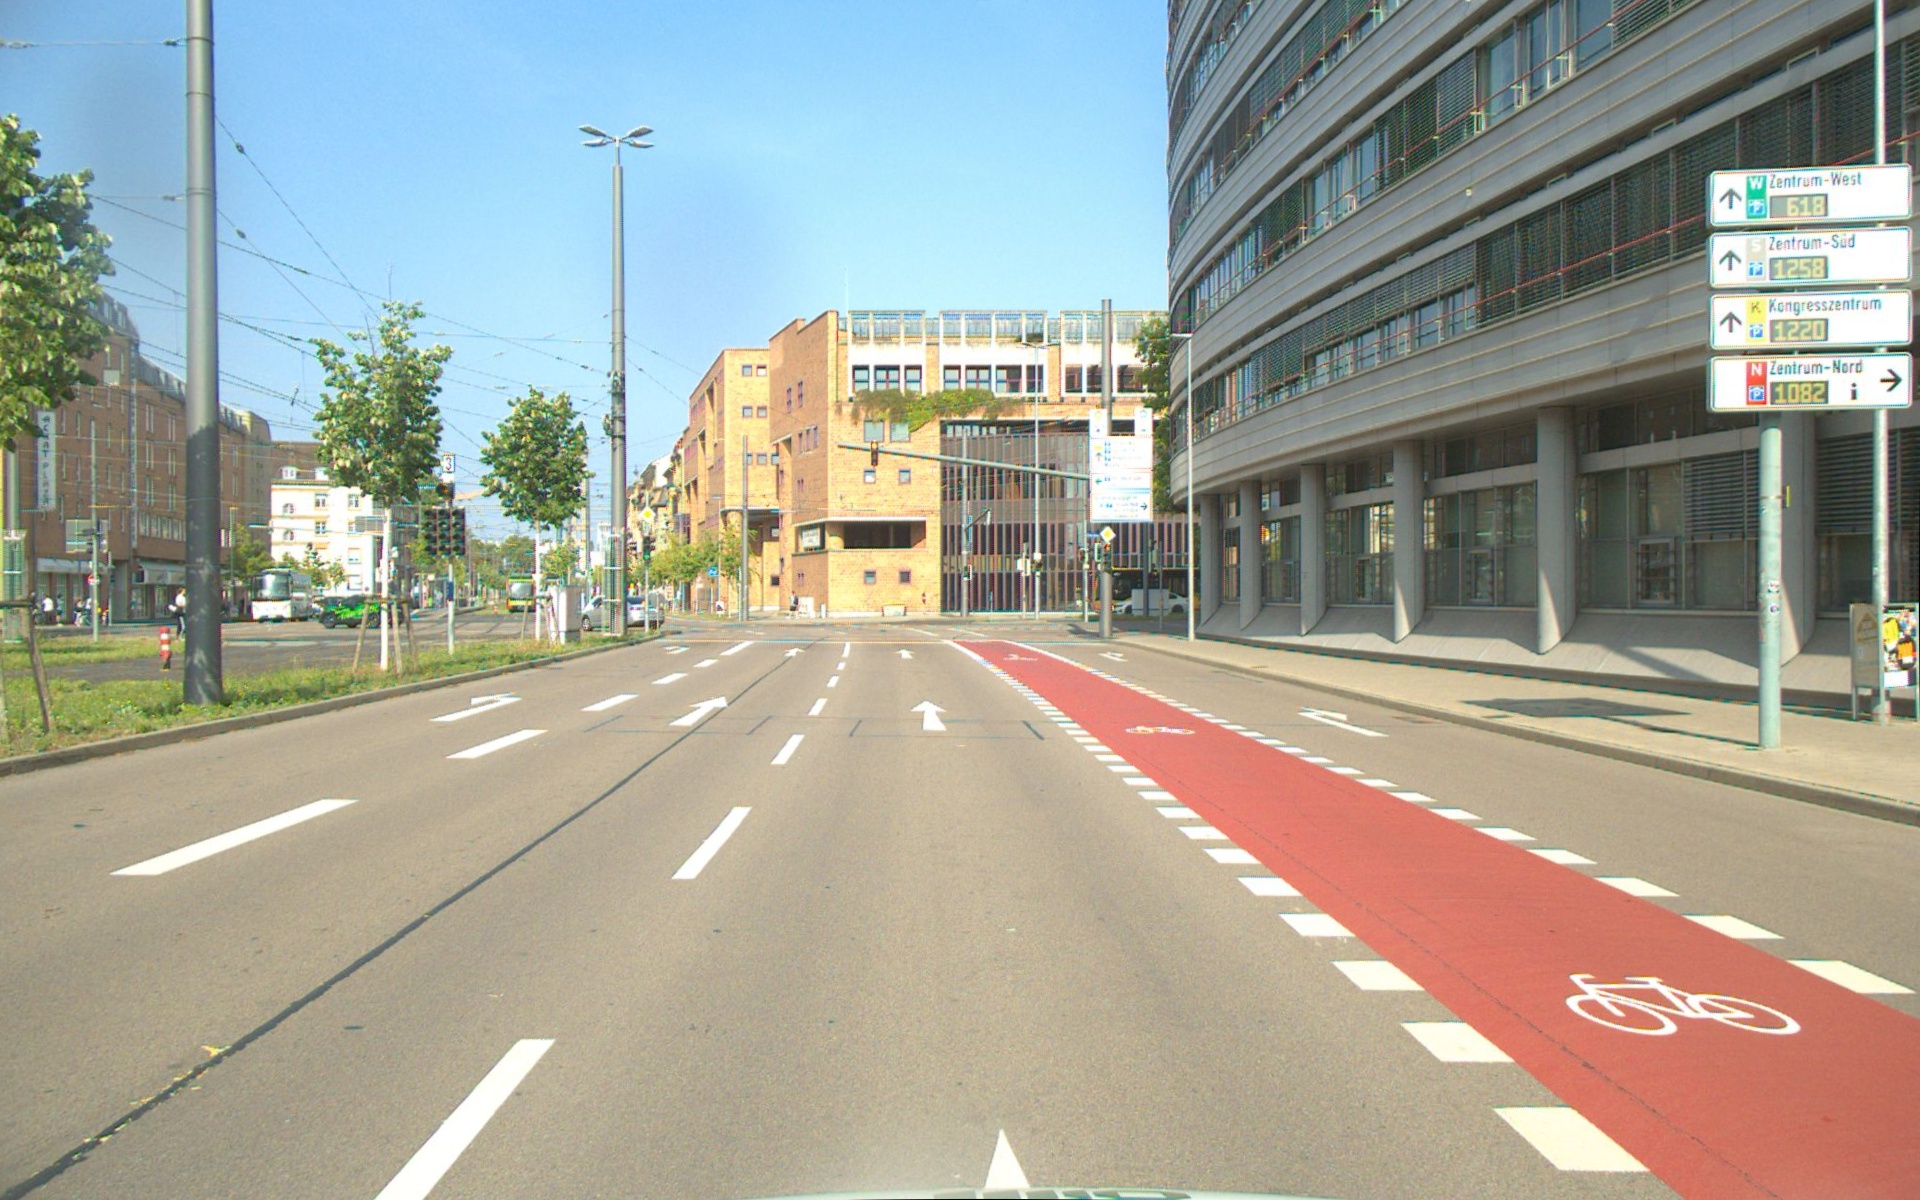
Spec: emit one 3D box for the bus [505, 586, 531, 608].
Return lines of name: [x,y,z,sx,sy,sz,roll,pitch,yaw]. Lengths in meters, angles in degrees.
bus: [-40.745,-0.273,152.412,1.964,2.049,3.976,0,0,-20]

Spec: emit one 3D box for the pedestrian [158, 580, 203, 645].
pedestrian: [-24.823,0.403,52.677,1.134,2.049,0.774,0,-2,-11]

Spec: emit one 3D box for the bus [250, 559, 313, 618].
bus: [-48.195,-0.820,117.816,2.702,3.989,12.165,0,0,-16]

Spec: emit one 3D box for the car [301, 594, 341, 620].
car: [-38.314,0.407,99.147,1.680,1.518,3.565,0,0,-31]

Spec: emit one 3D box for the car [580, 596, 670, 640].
car: [-13.927,0.767,68.640,3.819,1.786,1.701,-1,-1,41]

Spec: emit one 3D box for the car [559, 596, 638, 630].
car: [-17.423,0.649,79.634,3.368,1.569,1.734,-1,-2,25]

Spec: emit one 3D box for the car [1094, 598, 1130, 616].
car: [8.610,0.396,93.696,1.912,0.975,1.093,2,-2,-3]

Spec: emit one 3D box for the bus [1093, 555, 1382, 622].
bus: [16.709,-0.700,99.471,17.299,3.877,2.856,0,-2,-12]

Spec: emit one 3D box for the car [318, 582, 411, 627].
car: [-28.285,0.242,78.568,3.907,2.049,1.999,-1,-2,24]
